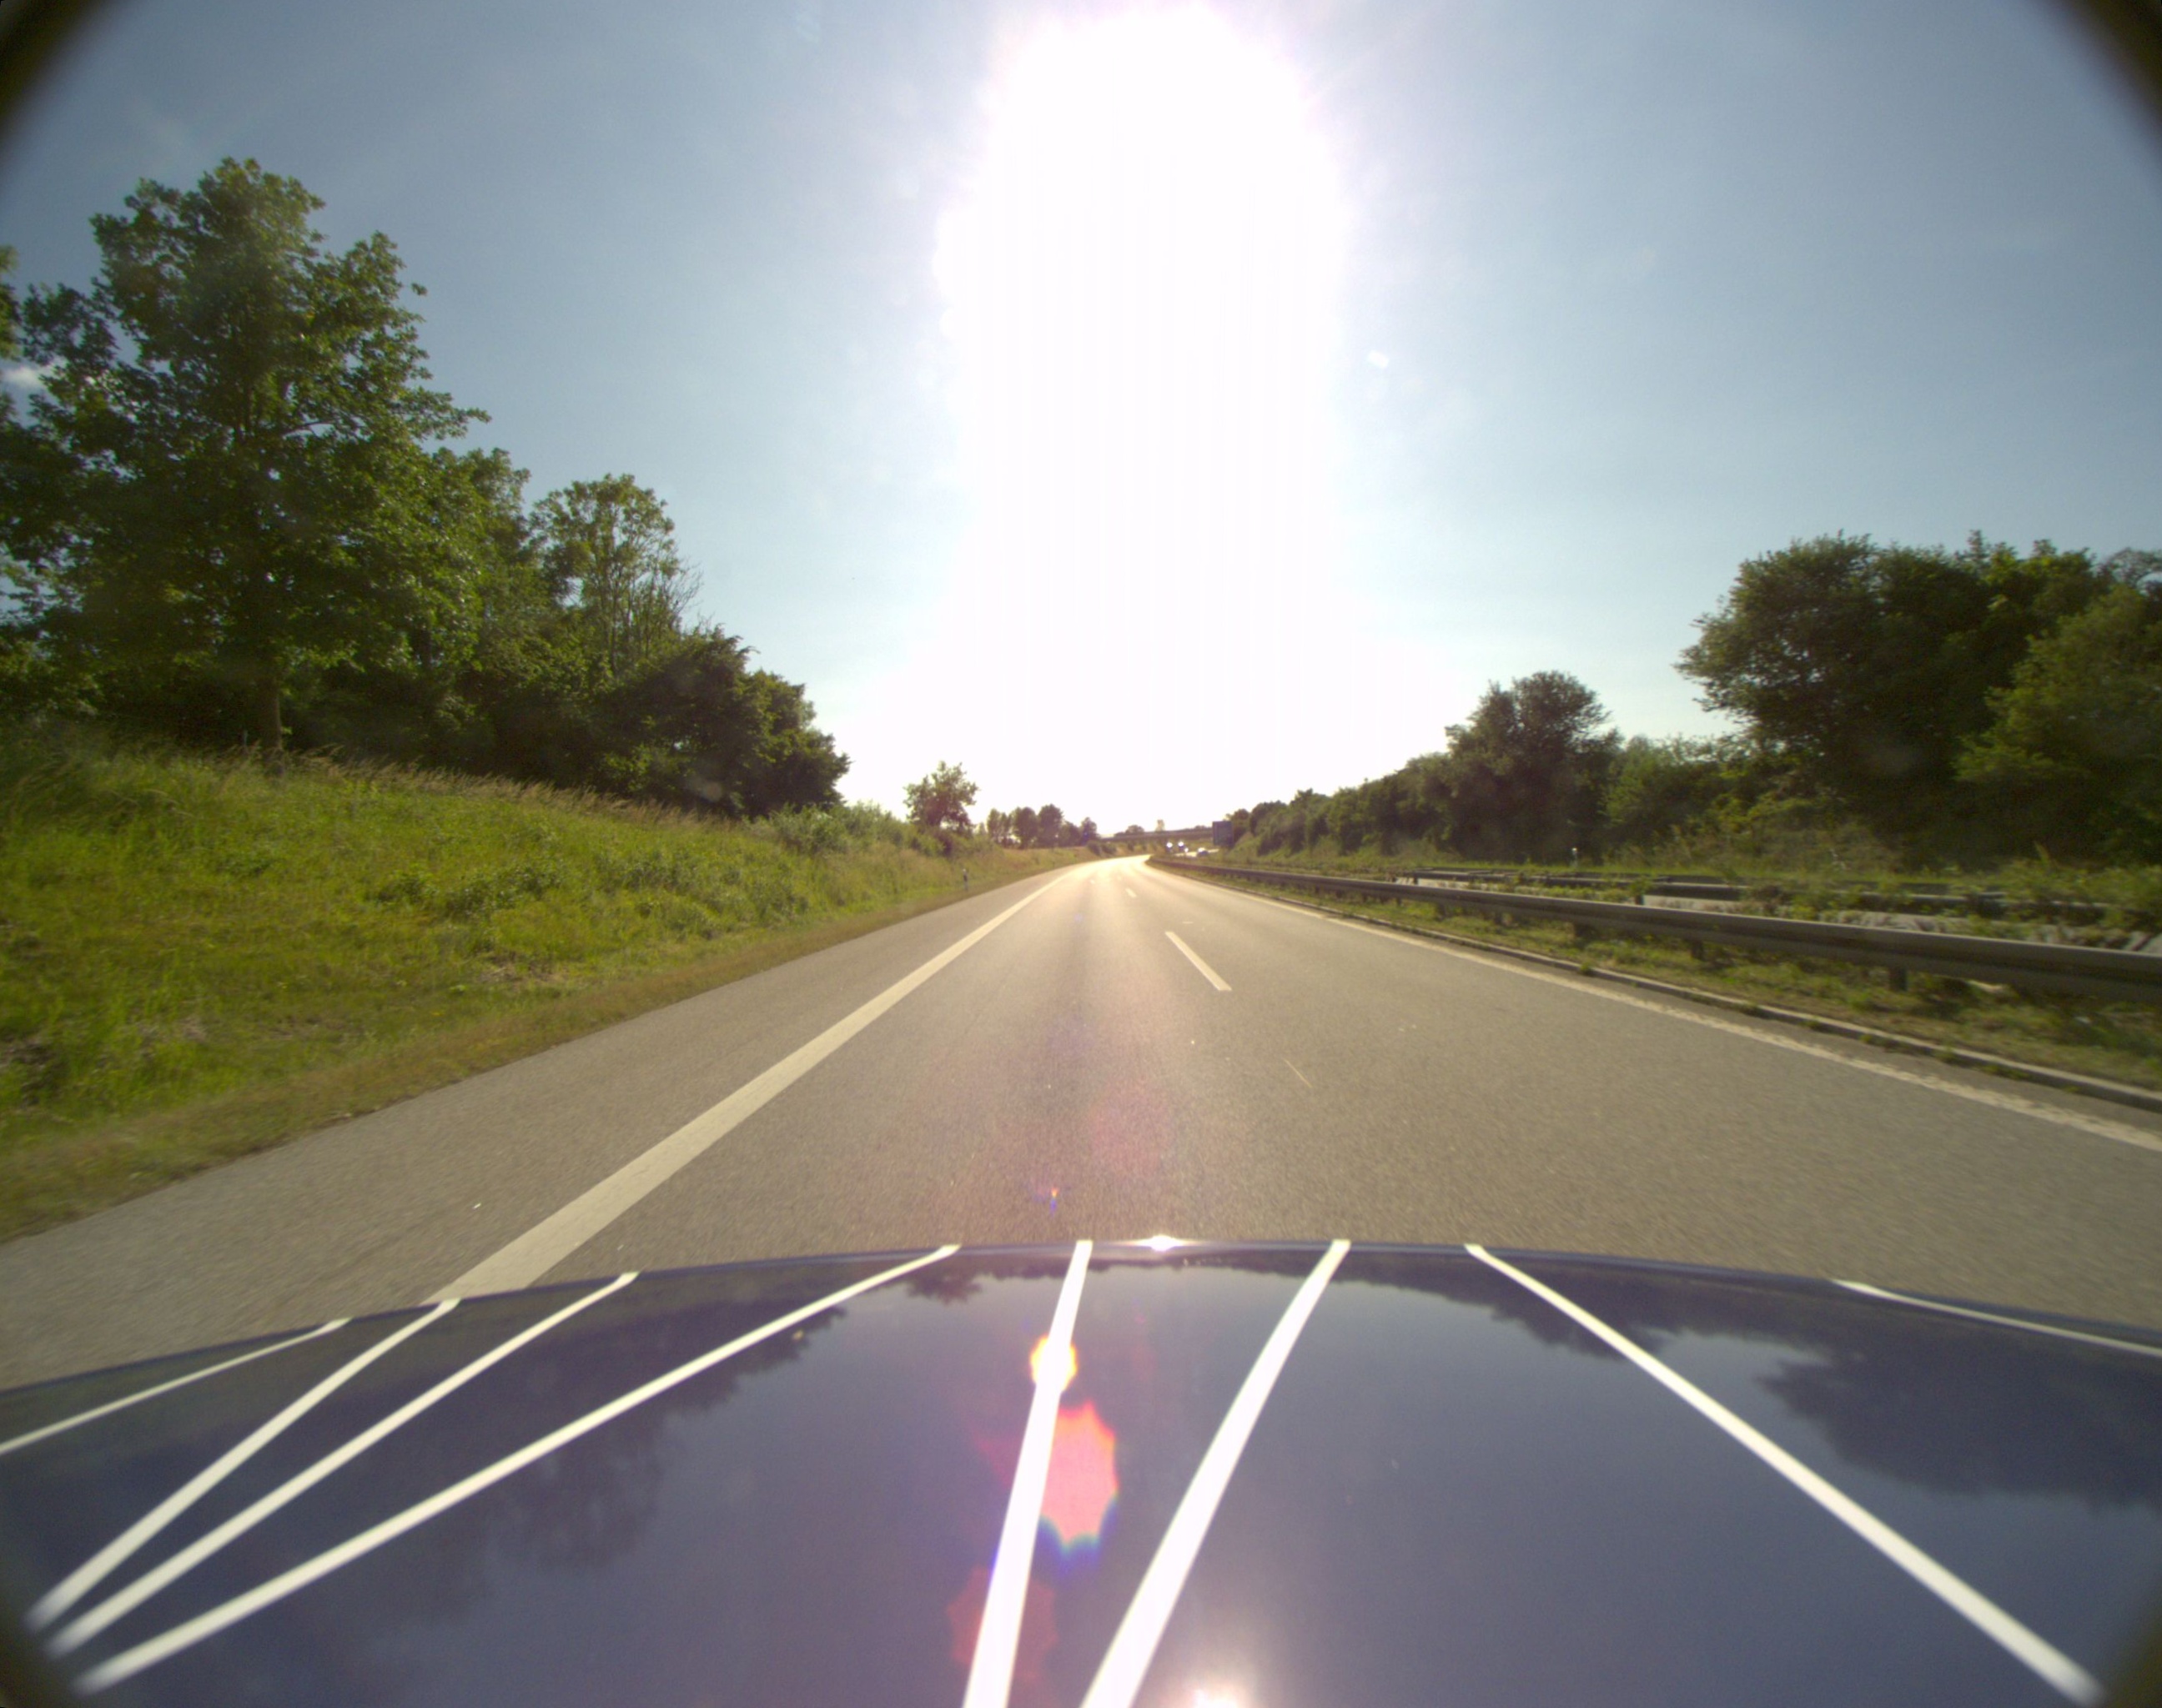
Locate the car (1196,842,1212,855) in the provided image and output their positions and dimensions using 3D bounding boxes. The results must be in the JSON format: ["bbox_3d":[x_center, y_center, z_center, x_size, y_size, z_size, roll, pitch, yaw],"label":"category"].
[{"bbox_3d":[20.144,-0.861,124.940,1.998,2.002,4.855,-1,1,3],"label":"car"}]
